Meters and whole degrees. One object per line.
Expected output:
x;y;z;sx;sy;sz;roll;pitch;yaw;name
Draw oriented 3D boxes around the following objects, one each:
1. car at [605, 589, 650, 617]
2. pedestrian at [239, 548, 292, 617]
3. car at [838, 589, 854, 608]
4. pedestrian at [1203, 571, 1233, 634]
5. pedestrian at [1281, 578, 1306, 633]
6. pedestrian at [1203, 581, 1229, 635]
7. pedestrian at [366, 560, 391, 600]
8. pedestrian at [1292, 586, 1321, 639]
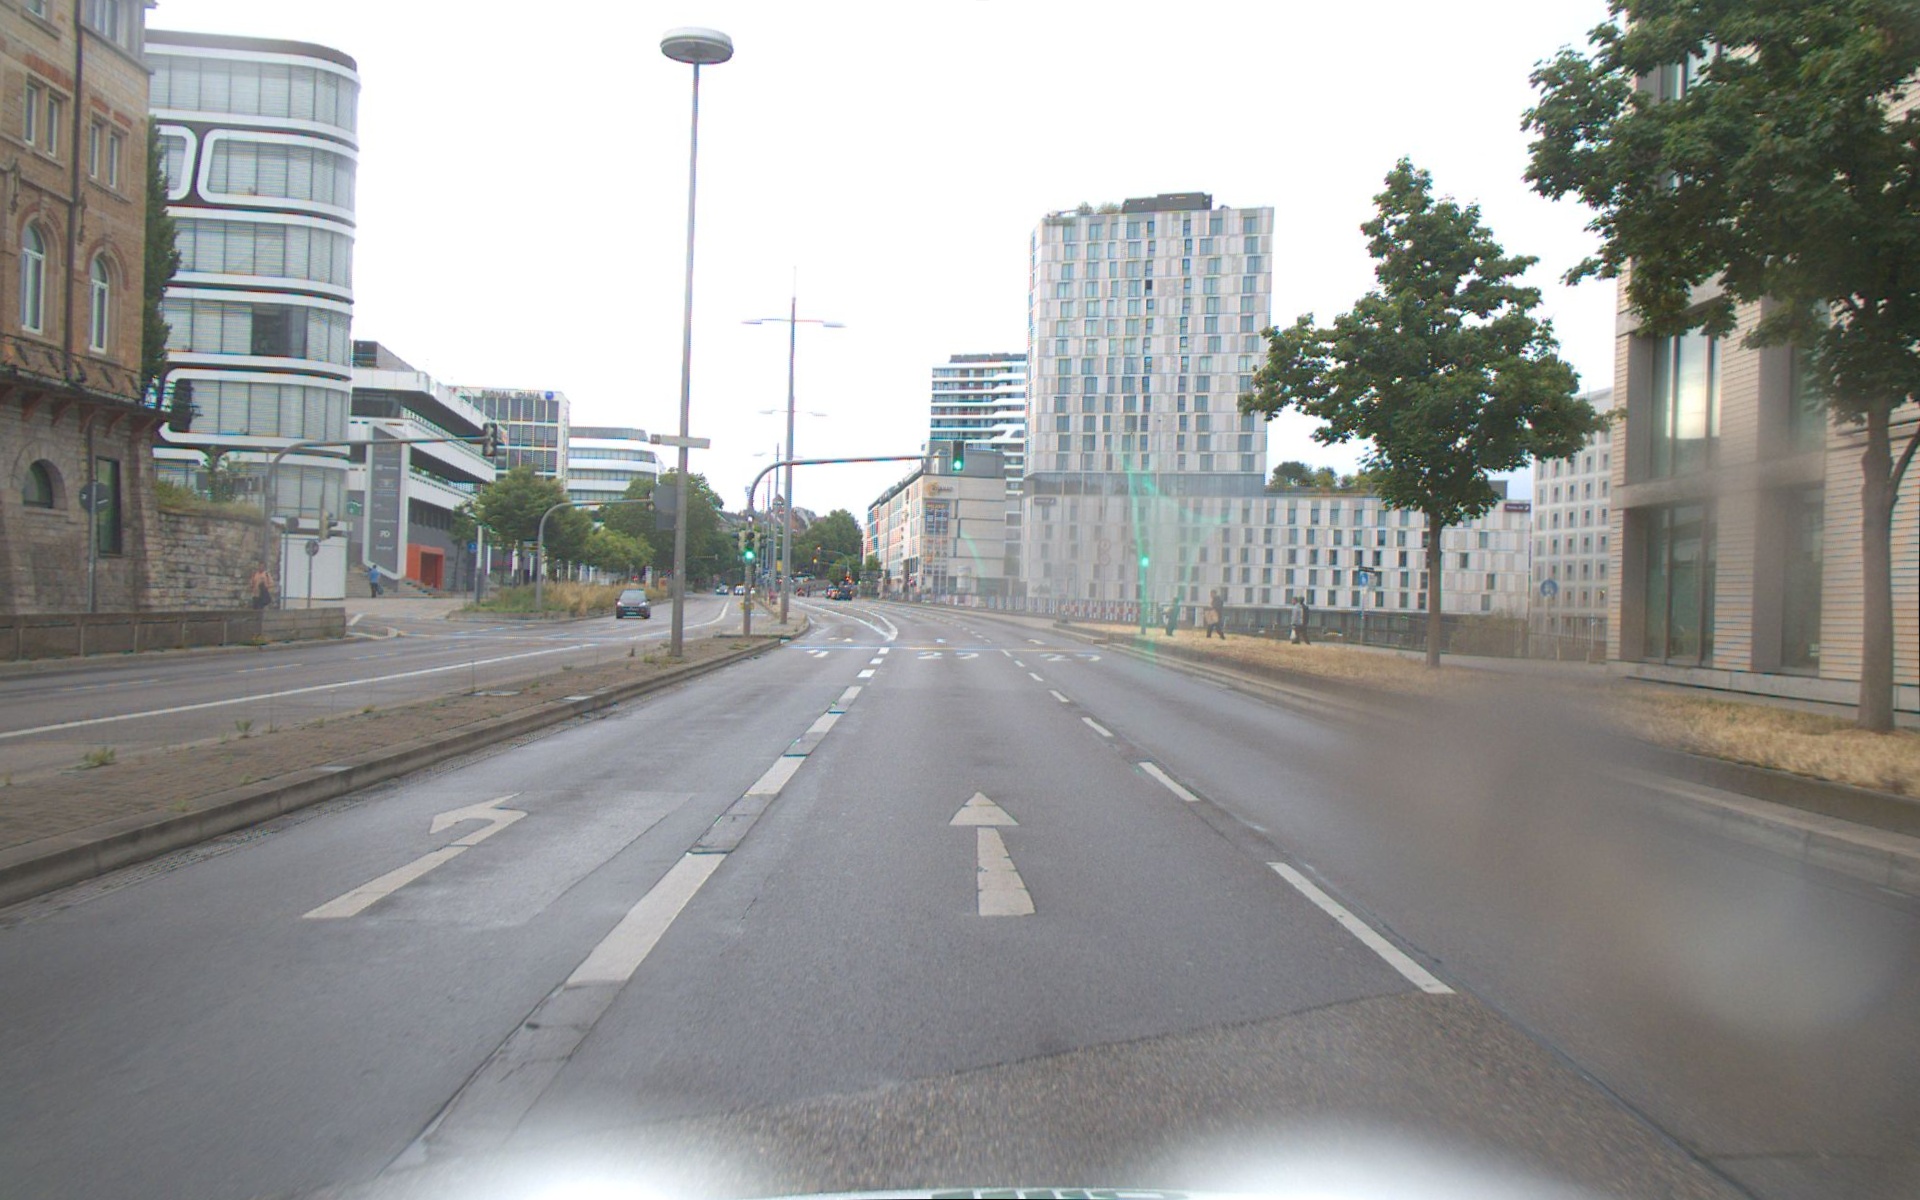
-17.511;0.138;87.190;1.713;1.432;3.724;0;0;-2;car
-19.533;-0.499;46.499;0.865;1.899;1.058;1;2;33;pedestrian
-15.490;-0.207;225.512;1.953;2.384;3.999;-2;1;-2;car
7.770;0.072;49.797;0.777;1.873;0.542;-2;2;-45;pedestrian
9.983;0.166;49.543;0.540;1.605;0.669;1;2;33;pedestrian
7.730;0.226;49.912;0.540;1.605;0.669;1;2;33;pedestrian
-29.755;-1.033;84.590;1.009;2.048;0.716;0;2;-2;pedestrian
10.598;0.375;50.619;0.657;1.605;0.666;1;2;37;pedestrian
